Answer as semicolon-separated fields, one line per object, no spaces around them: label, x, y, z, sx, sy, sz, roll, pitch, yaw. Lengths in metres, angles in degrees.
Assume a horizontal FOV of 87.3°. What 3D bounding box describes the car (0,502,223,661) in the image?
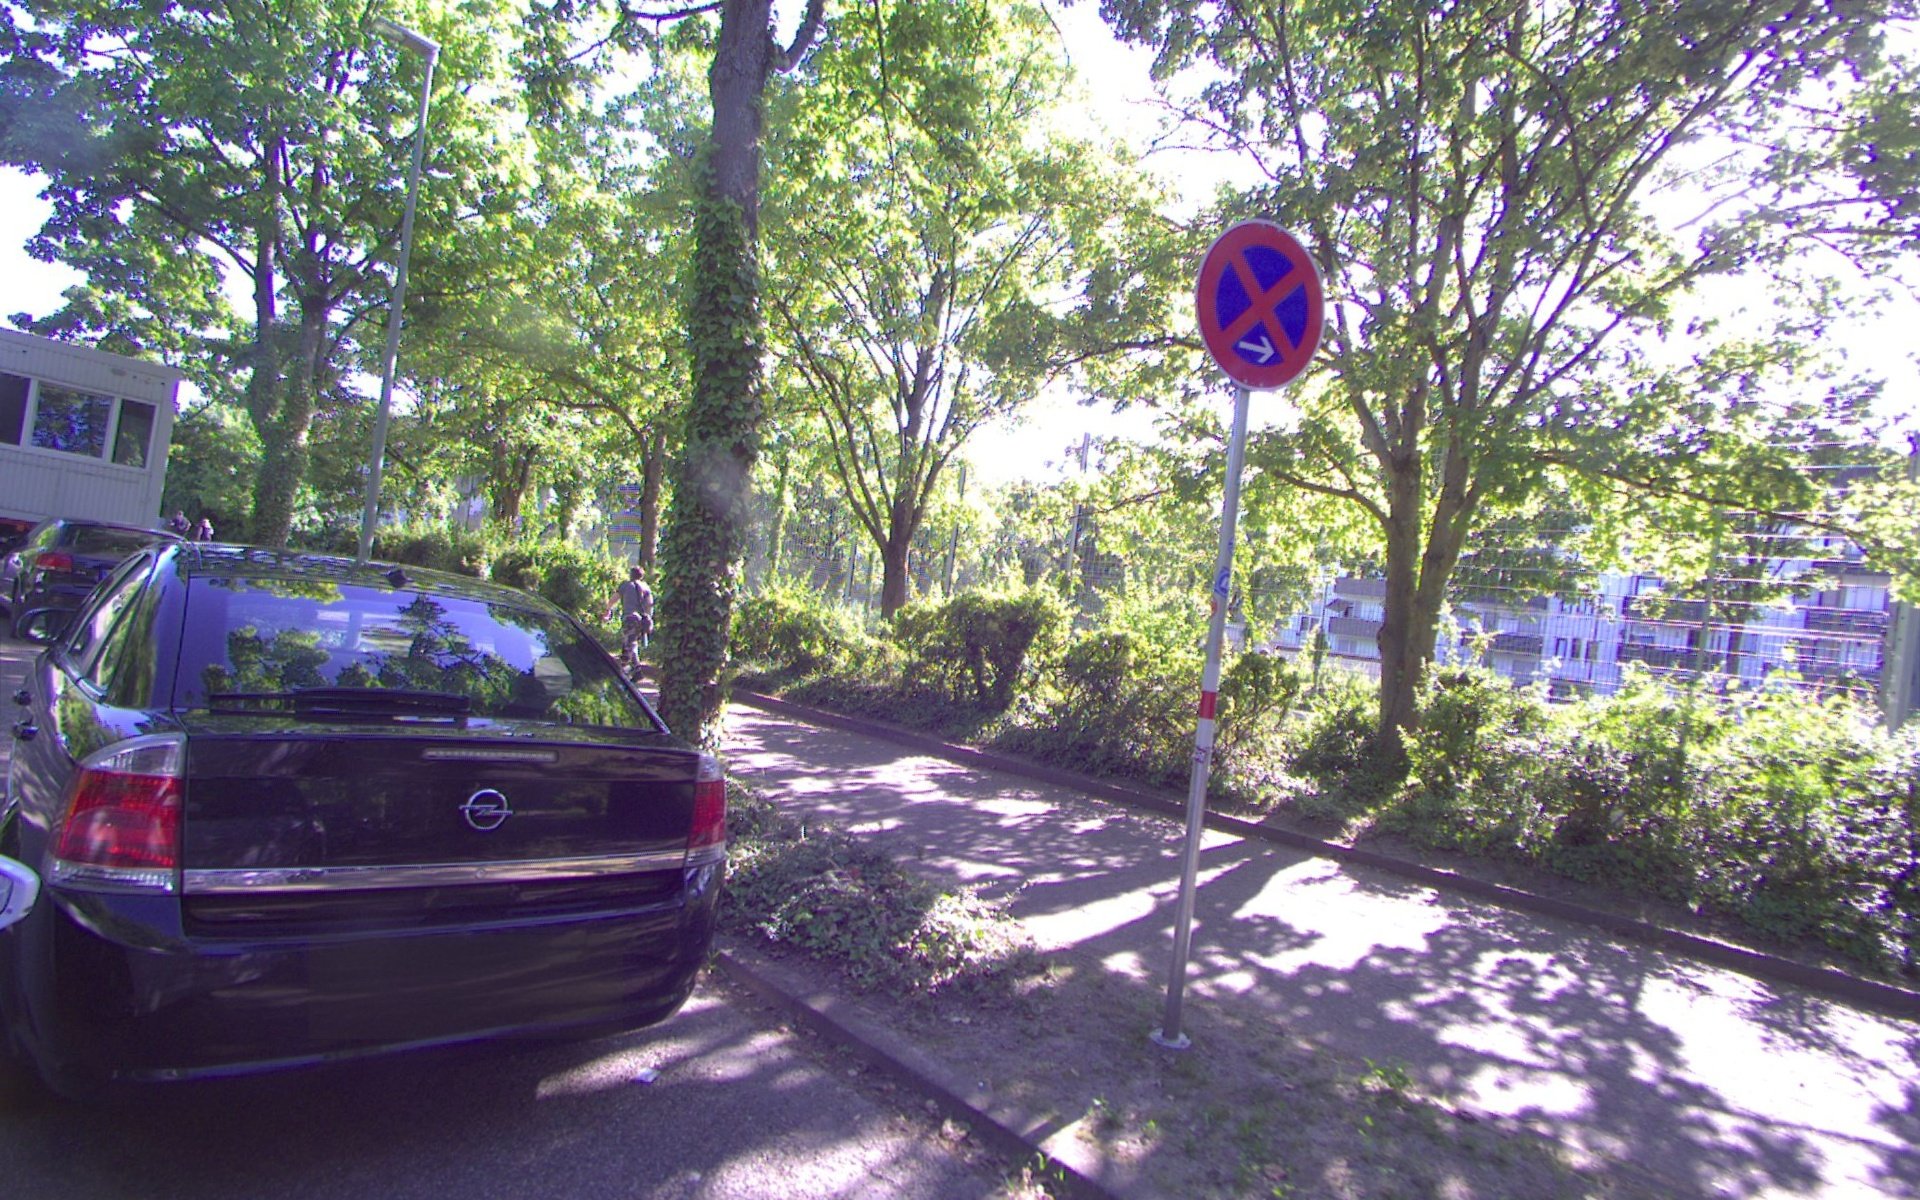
car;-10.578;-0.284;12.313;3.945;1.436;1.638;7;-2;42

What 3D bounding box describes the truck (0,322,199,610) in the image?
truck;-17.583;-2.445;19.415;10.213;4.041;2.769;7;-2;45

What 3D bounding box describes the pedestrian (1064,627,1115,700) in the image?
pedestrian;2.392;1.167;18.594;0.555;1.253;0.542;9;-2;-25

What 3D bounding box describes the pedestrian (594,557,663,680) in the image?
pedestrian;-4.687;0.257;14.208;0.568;1.627;0.664;8;0;-36

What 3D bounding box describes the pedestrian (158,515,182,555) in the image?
pedestrian;-33.838;-2.794;43.102;0.592;1.631;0.597;7;1;42

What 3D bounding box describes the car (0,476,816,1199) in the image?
car;-2.496;0.503;3.858;1.744;1.497;3.982;9;-3;-43

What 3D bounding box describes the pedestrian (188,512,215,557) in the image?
pedestrian;-33.140;-2.871;43.953;0.690;1.835;0.696;7;1;42

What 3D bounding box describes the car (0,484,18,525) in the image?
car;-47.179;-4.757;48.620;3.945;1.864;1.944;7;-1;42
